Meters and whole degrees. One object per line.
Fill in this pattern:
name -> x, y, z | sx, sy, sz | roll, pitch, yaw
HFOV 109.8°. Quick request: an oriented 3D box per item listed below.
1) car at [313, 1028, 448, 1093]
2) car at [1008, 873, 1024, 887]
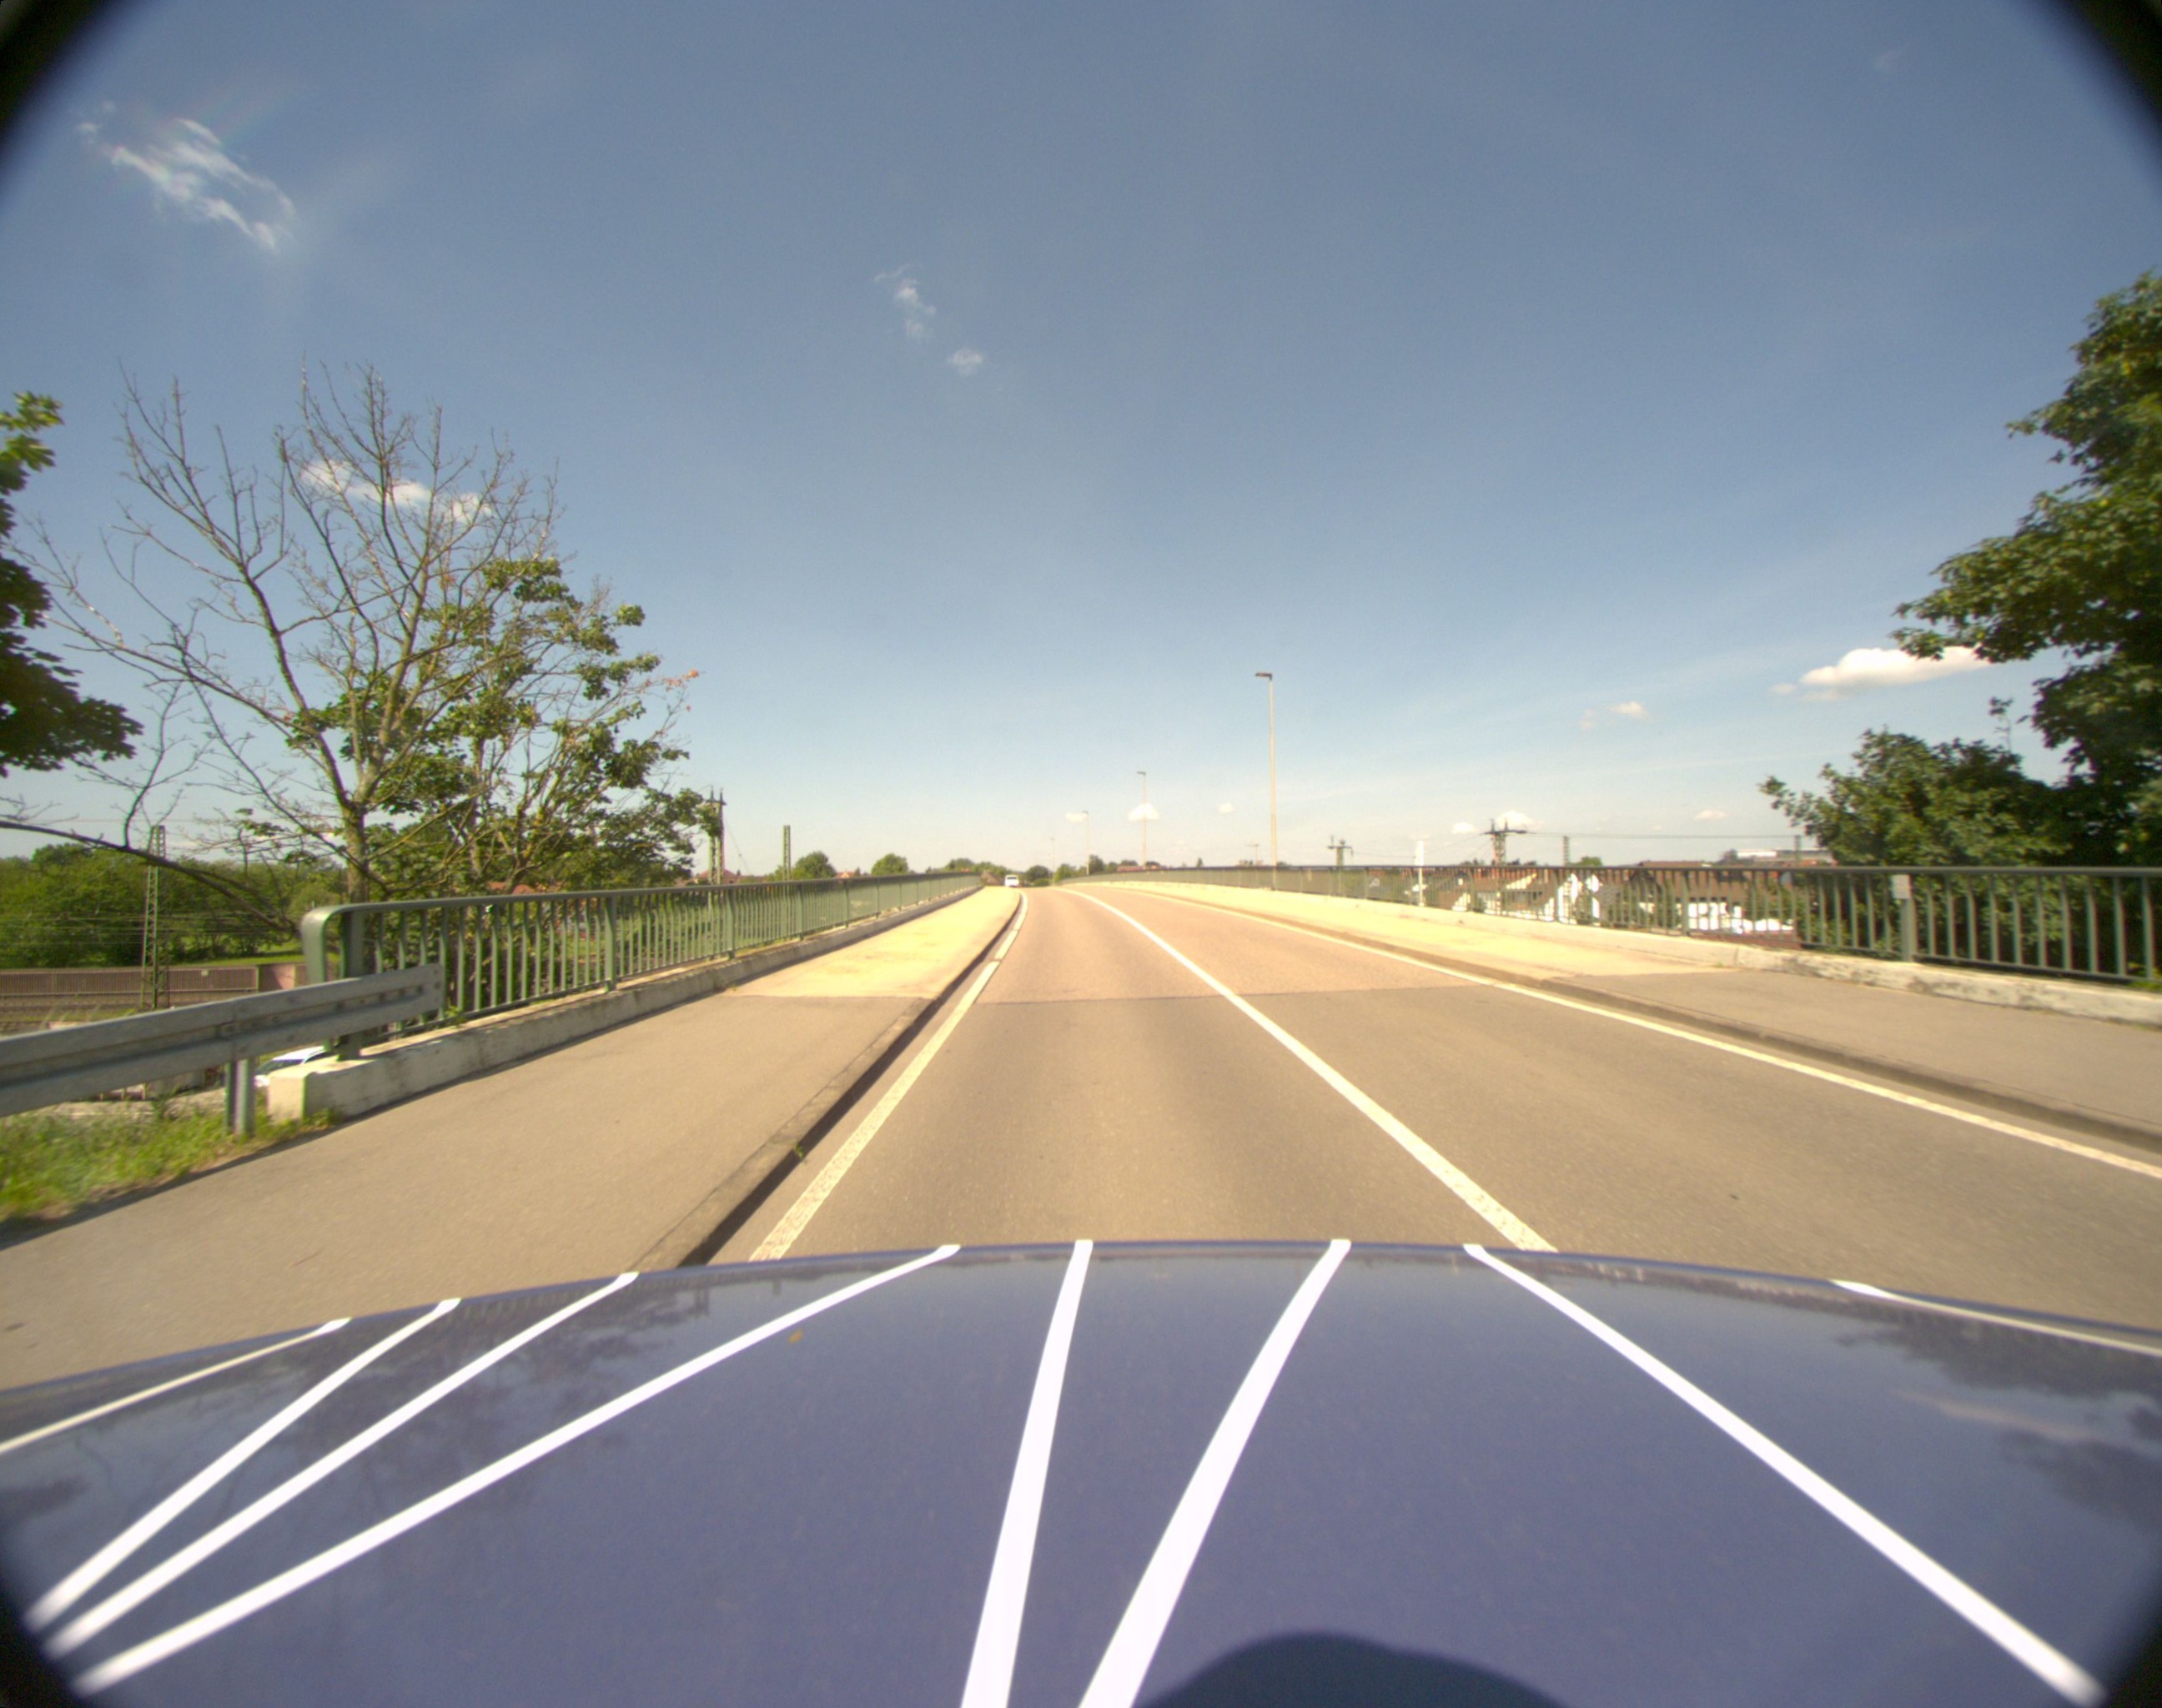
car -> -30.100, 8.835, 32.840 | 1.999, 1.585, 4.243 | -5, -1, -5
car -> -9.034, 3.634, 105.419 | 2.094, 1.750, 4.281 | -2, -1, -5
